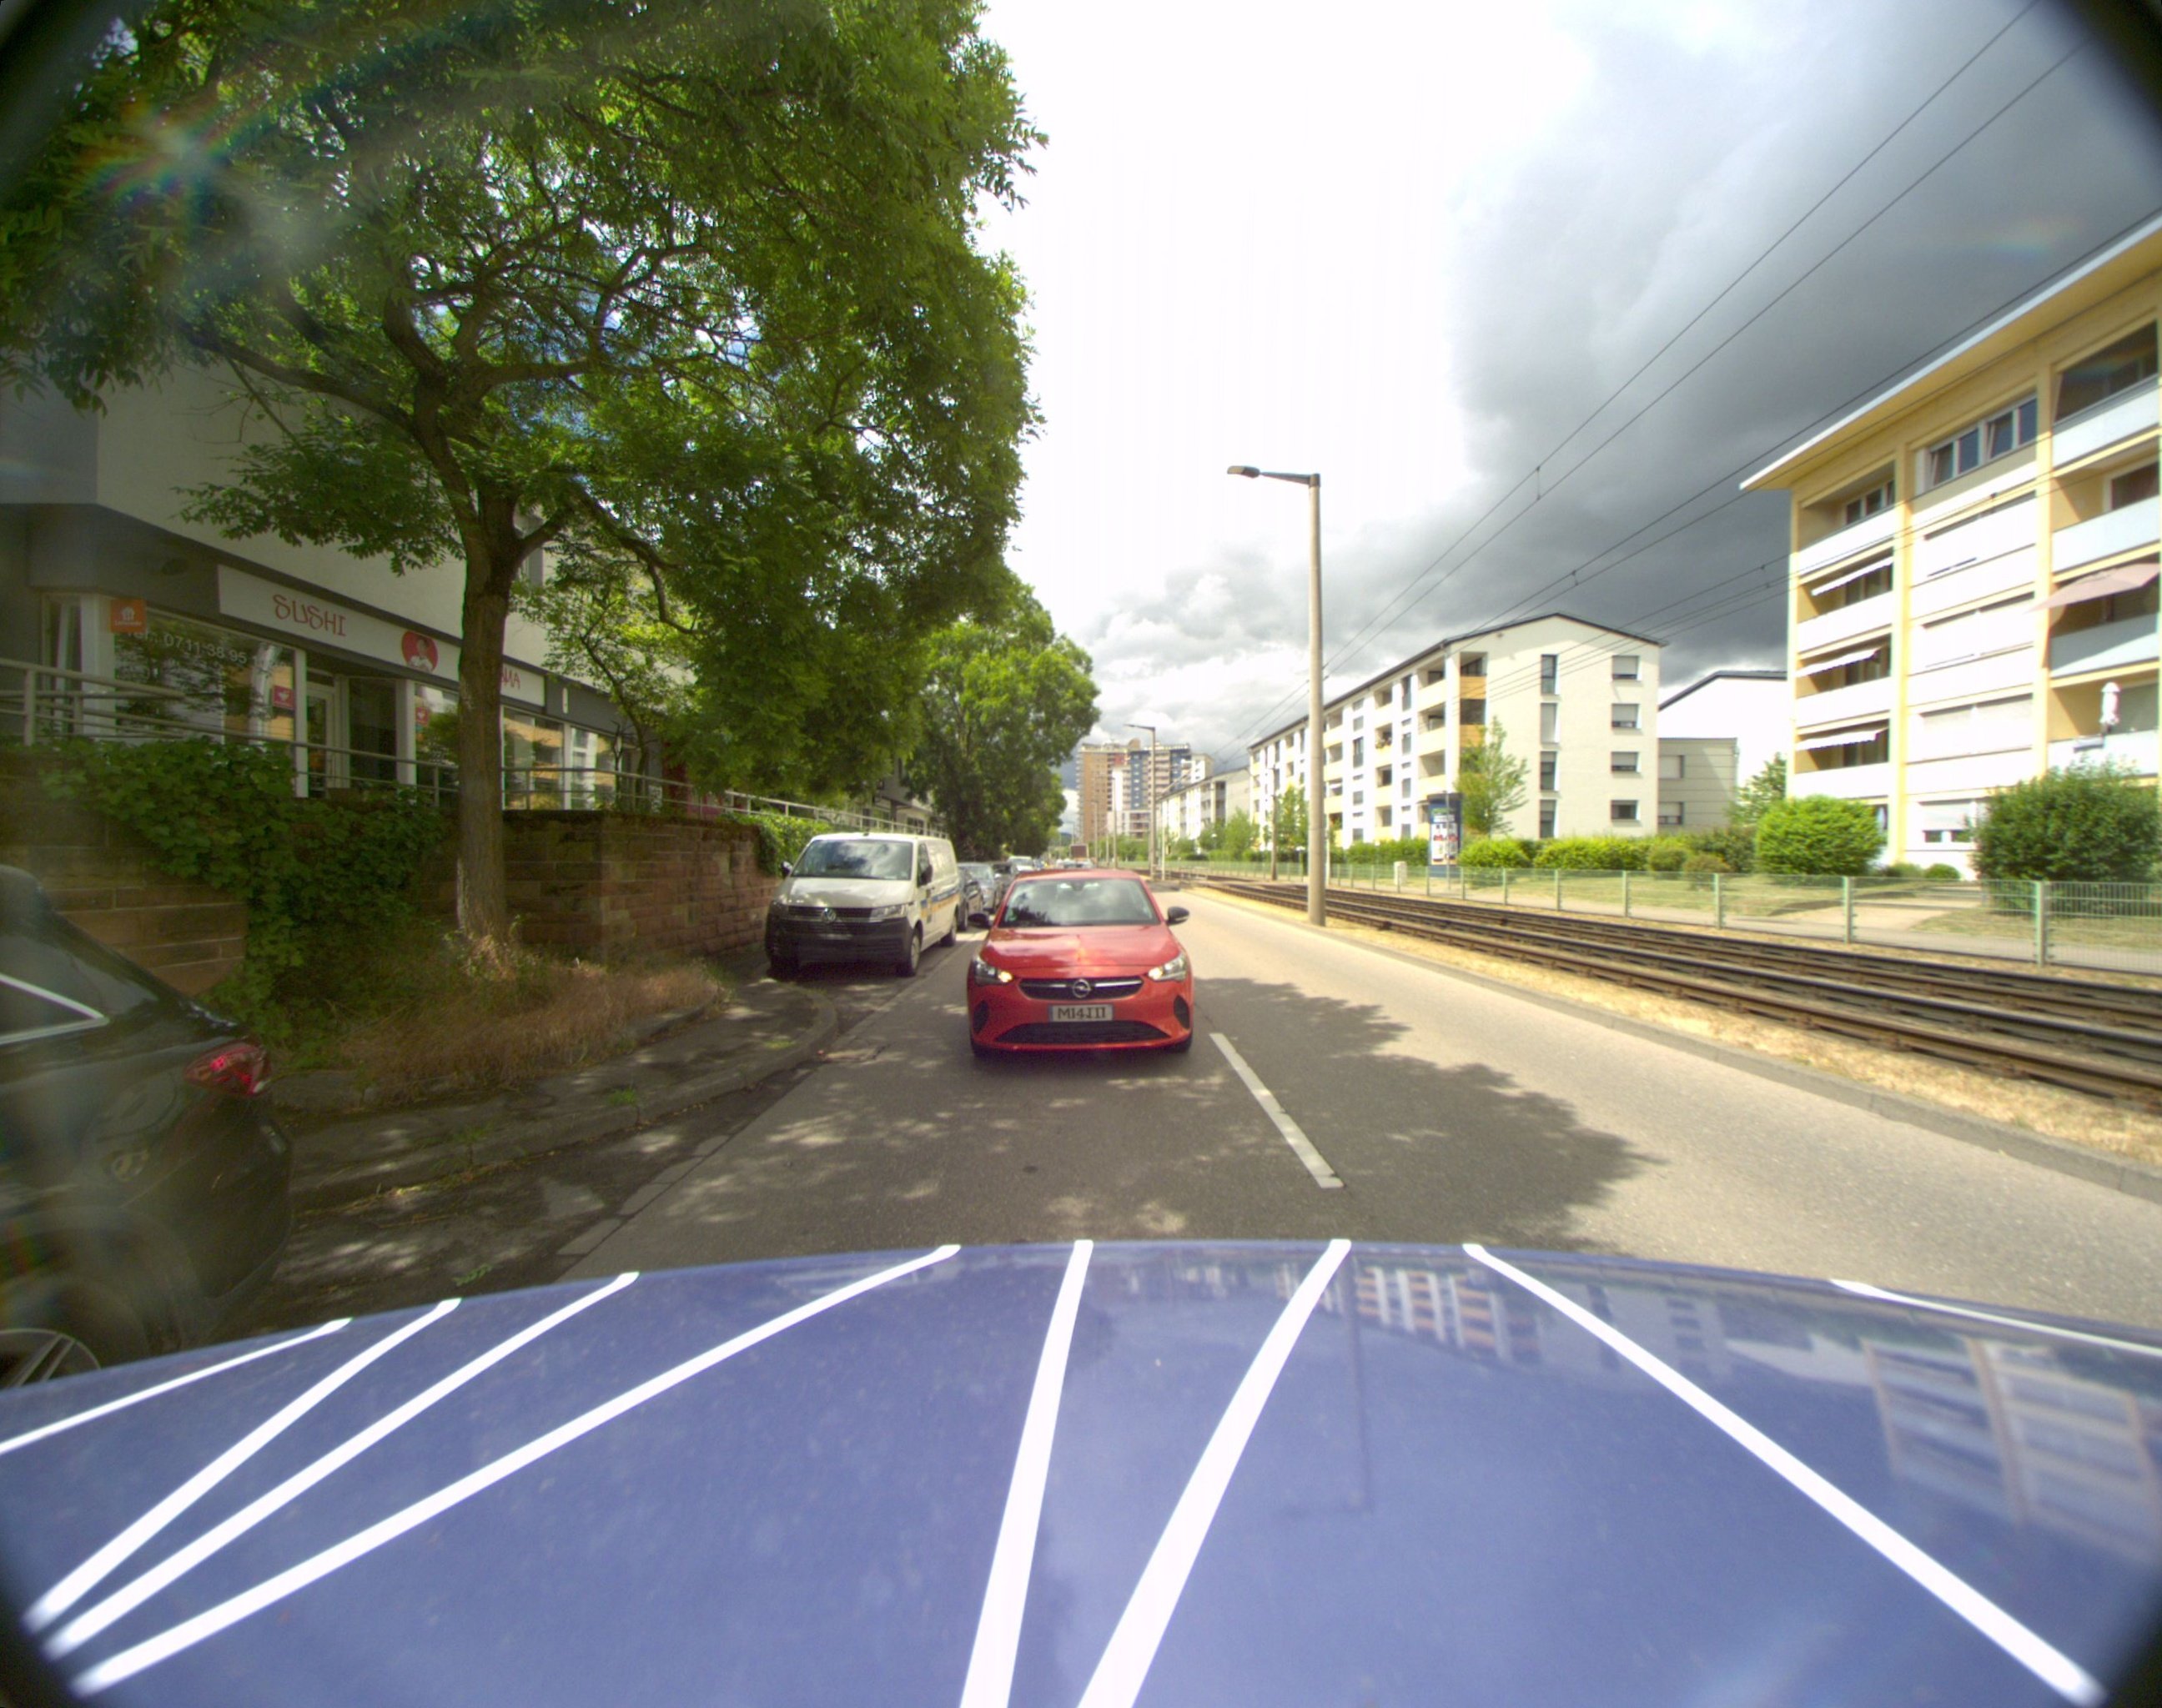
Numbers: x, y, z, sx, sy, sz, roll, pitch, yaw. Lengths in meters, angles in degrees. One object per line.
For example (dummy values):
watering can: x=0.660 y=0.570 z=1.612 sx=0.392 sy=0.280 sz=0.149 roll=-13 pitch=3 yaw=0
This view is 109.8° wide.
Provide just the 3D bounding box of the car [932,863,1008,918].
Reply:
car: x=-3.202 y=1.010 z=22.695 sx=1.785 sy=1.420 sz=4.144 roll=0 pitch=0 yaw=-2

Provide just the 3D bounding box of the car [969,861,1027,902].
car: x=-3.160 y=1.008 z=29.633 sx=1.784 sy=1.420 sz=4.147 roll=0 pitch=0 yaw=0

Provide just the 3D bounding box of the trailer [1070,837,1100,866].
trailer: x=0.416 y=-0.309 z=100.527 sx=2.876 sy=3.428 sz=14.610 roll=-2 pitch=0 yaw=-3

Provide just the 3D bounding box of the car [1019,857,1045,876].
car: x=-3.926 y=0.993 z=61.897 sx=1.784 sy=1.420 sz=4.147 roll=-1 pitch=0 yaw=0

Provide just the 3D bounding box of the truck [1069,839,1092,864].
truck: x=-0.076 y=-0.310 z=108.739 sx=2.853 sy=3.428 sz=4.414 roll=-2 pitch=0 yaw=-4

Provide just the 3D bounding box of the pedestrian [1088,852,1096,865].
pedestrian: x=1.225 y=0.471 z=84.748 sx=0.737 sy=1.408 sz=0.927 roll=-2 pitch=1 yaw=-1

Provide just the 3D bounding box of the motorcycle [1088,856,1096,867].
motorcycle: x=1.240 y=0.830 z=84.751 sx=0.783 sy=1.181 sz=1.869 roll=-1 pitch=0 yaw=-1

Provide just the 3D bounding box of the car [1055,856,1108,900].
car: x=-0.001 y=0.918 z=30.547 sx=1.927 sy=1.543 sz=3.999 roll=-2 pitch=0 yaw=-1

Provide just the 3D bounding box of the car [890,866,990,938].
car: x=-3.156 y=1.019 z=17.622 sx=1.578 sy=1.420 sz=3.734 roll=-1 pitch=0 yaw=0

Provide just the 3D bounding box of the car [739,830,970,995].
car: x=-3.102 y=0.703 z=11.668 sx=1.978 sy=1.958 sz=5.013 roll=-1 pitch=0 yaw=0

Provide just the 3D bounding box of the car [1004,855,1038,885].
car: x=-3.515 y=0.892 z=44.973 sx=1.819 sy=1.643 sz=4.146 roll=0 pitch=0 yaw=-2

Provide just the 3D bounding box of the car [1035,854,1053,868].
car: x=-4.158 y=0.778 z=86.084 sx=1.784 sy=1.420 sz=4.147 roll=0 pitch=0 yaw=0

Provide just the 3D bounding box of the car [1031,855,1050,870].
car: x=-4.189 y=0.874 z=79.066 sx=1.784 sy=1.420 sz=4.147 roll=-1 pitch=0 yaw=0

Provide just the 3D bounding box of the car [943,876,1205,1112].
car: x=-0.006 y=0.988 z=7.020 sx=1.723 sy=1.434 sz=4.000 roll=0 pitch=0 yaw=1
